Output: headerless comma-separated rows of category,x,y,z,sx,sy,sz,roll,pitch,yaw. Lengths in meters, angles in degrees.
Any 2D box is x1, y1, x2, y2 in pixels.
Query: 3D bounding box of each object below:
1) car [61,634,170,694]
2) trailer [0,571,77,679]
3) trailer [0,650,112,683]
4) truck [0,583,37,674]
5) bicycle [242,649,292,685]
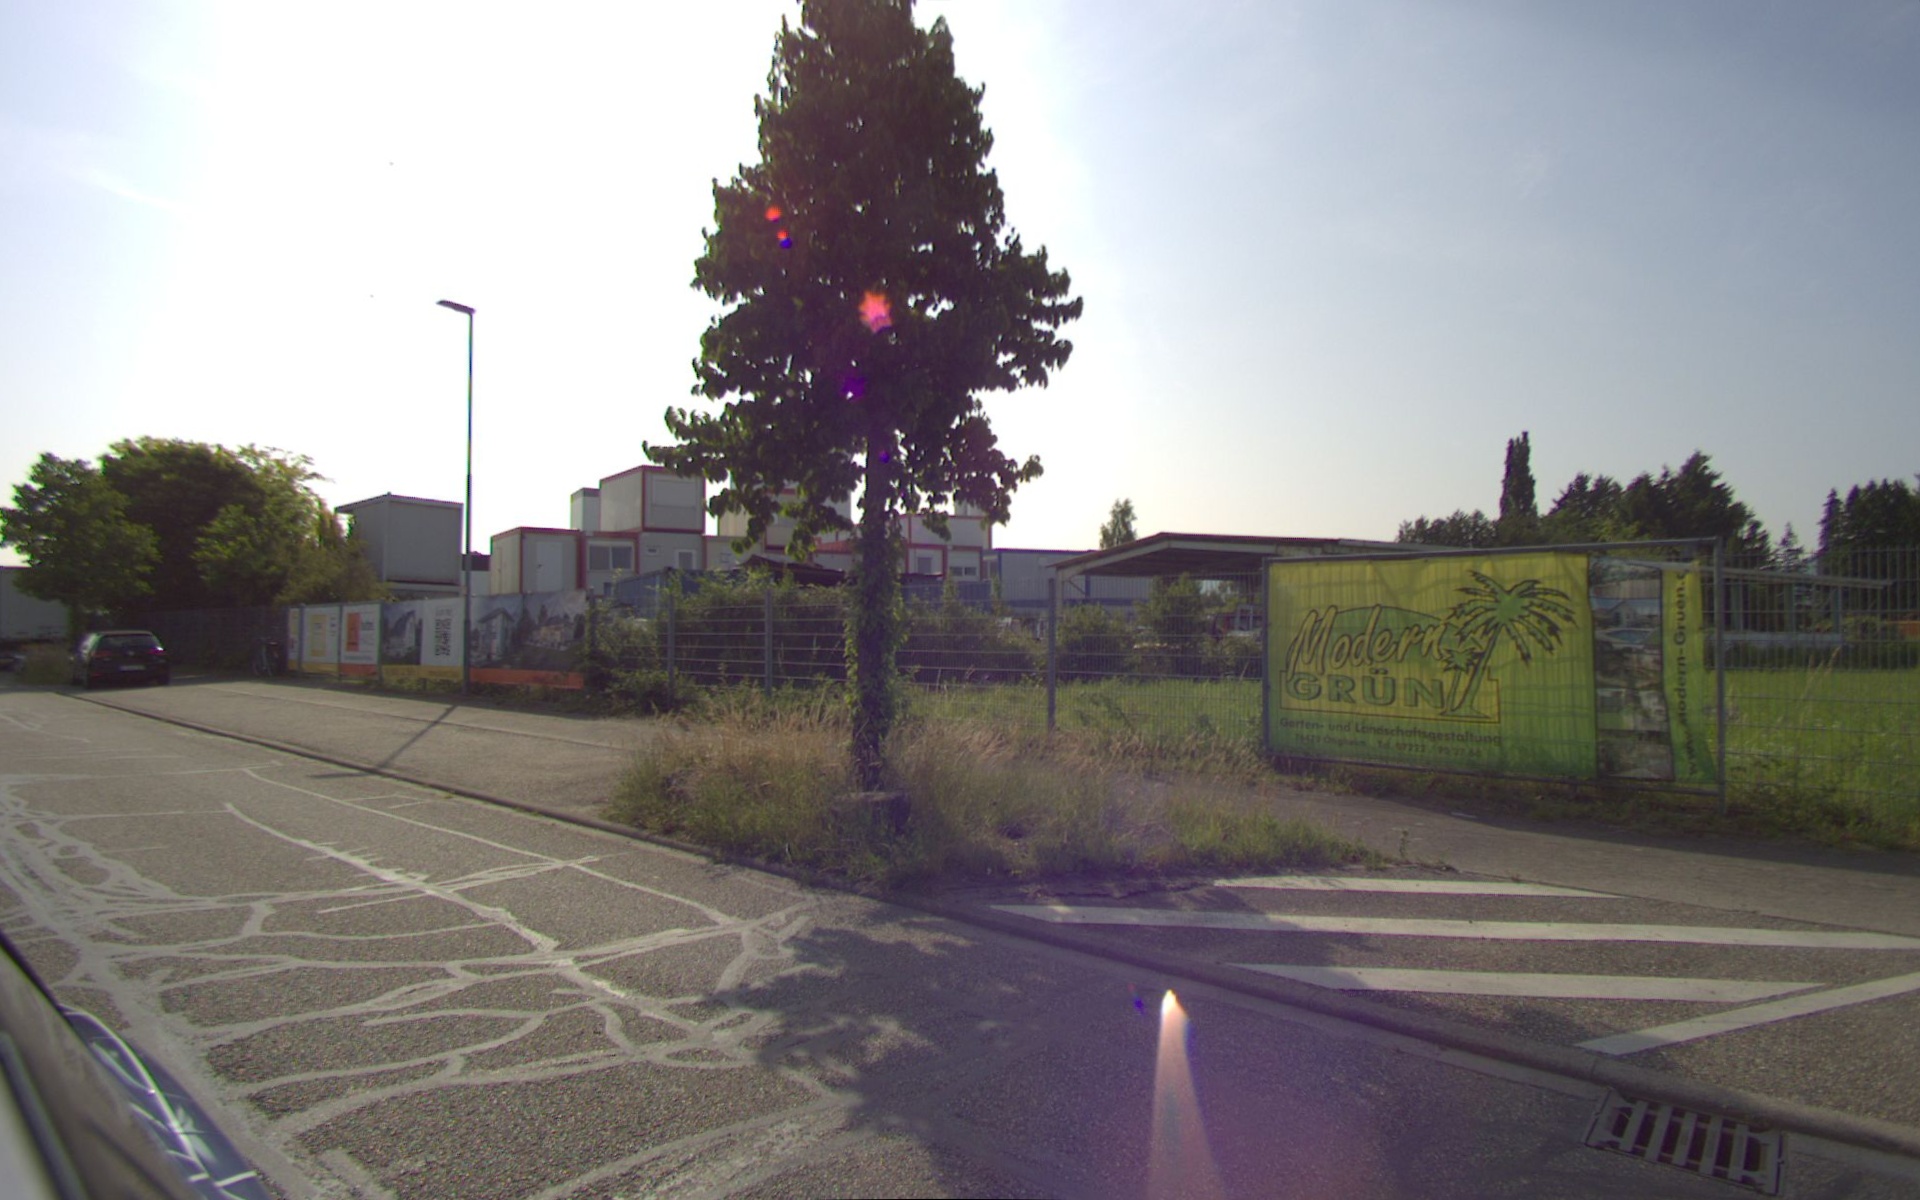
car,-22.582,1.660,27.008,4.092,1.481,1.669,-2,-3,42
trailer,-37.786,1.016,40.298,9.760,3.914,2.672,-2,-1,41
trailer,-31.707,2.262,35.011,6.238,0.993,2.622,-2,-3,40
truck,-44.994,1.324,46.633,9.633,3.914,2.684,-2,-1,42
bicycle,-20.056,1.925,29.250,2.451,0.980,0.556,-2,-3,41
